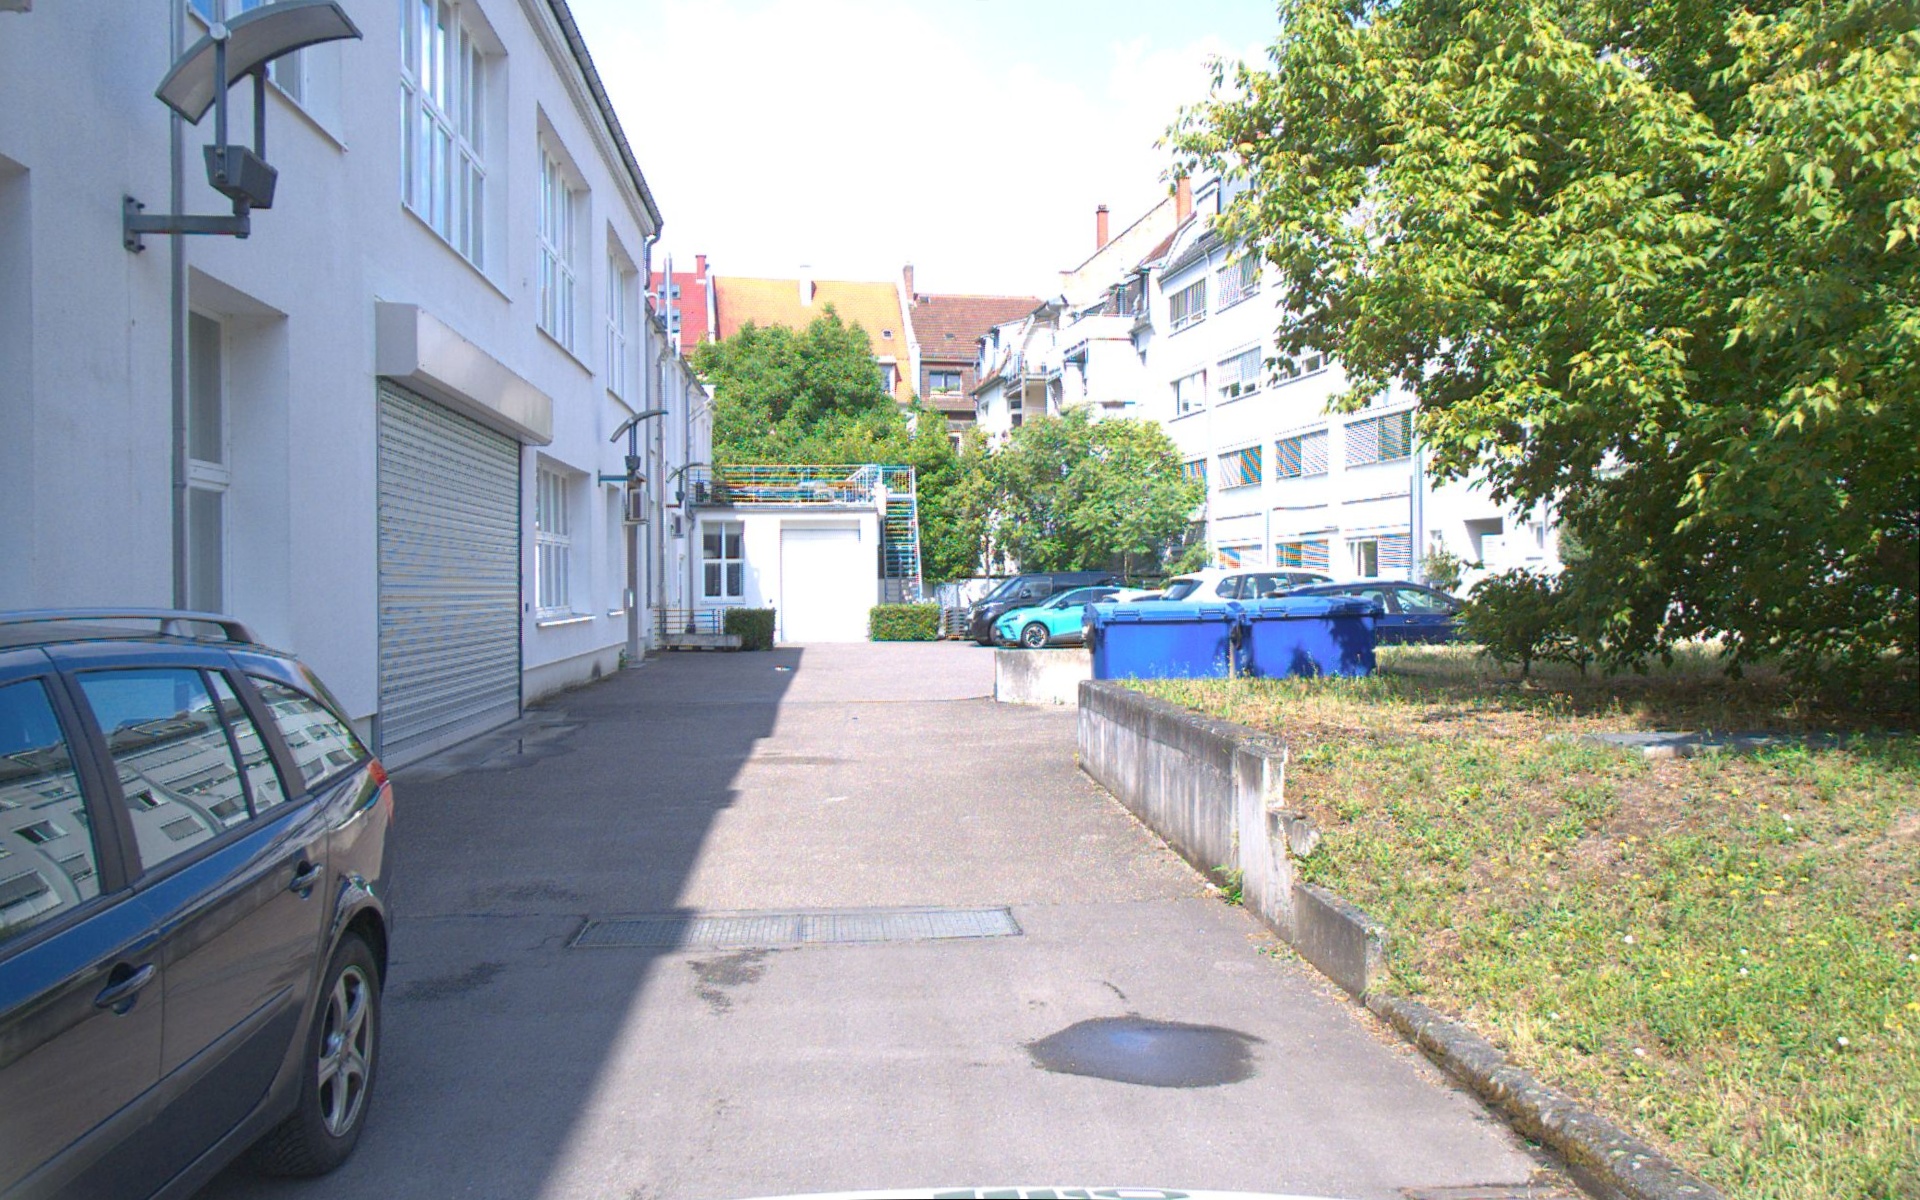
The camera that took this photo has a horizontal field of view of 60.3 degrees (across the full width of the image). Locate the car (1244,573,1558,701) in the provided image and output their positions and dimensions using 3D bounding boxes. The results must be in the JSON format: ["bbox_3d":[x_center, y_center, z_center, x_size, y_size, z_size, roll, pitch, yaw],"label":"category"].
[{"bbox_3d":[6.382,0.535,24.106,4.038,1.634,1.751,3,0,-11],"label":"car"}]

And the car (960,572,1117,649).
[{"bbox_3d":[2.088,0.276,44.484,3.915,1.849,1.659,3,0,-11],"label":"car"}]

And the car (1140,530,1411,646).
[{"bbox_3d":[5.095,-0.190,26.967,3.915,1.776,1.945,1,1,-11],"label":"car"}]

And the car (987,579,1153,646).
[{"bbox_3d":[2.753,0.294,41.800,3.915,1.601,1.625,0,2,-11],"label":"car"}]

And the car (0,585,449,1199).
[{"bbox_3d":[-2.372,0.701,2.943,1.843,1.467,4.335,2,-2,-5],"label":"car"}]

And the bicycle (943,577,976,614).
[{"bbox_3d":[-0.030,-0.152,54.142,0.630,1.137,1.852,3,0,-13],"label":"bicycle"}]

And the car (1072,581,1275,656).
[{"bbox_3d":[4.445,0.366,34.611,3.915,1.470,1.625,0,2,-11],"label":"car"}]
